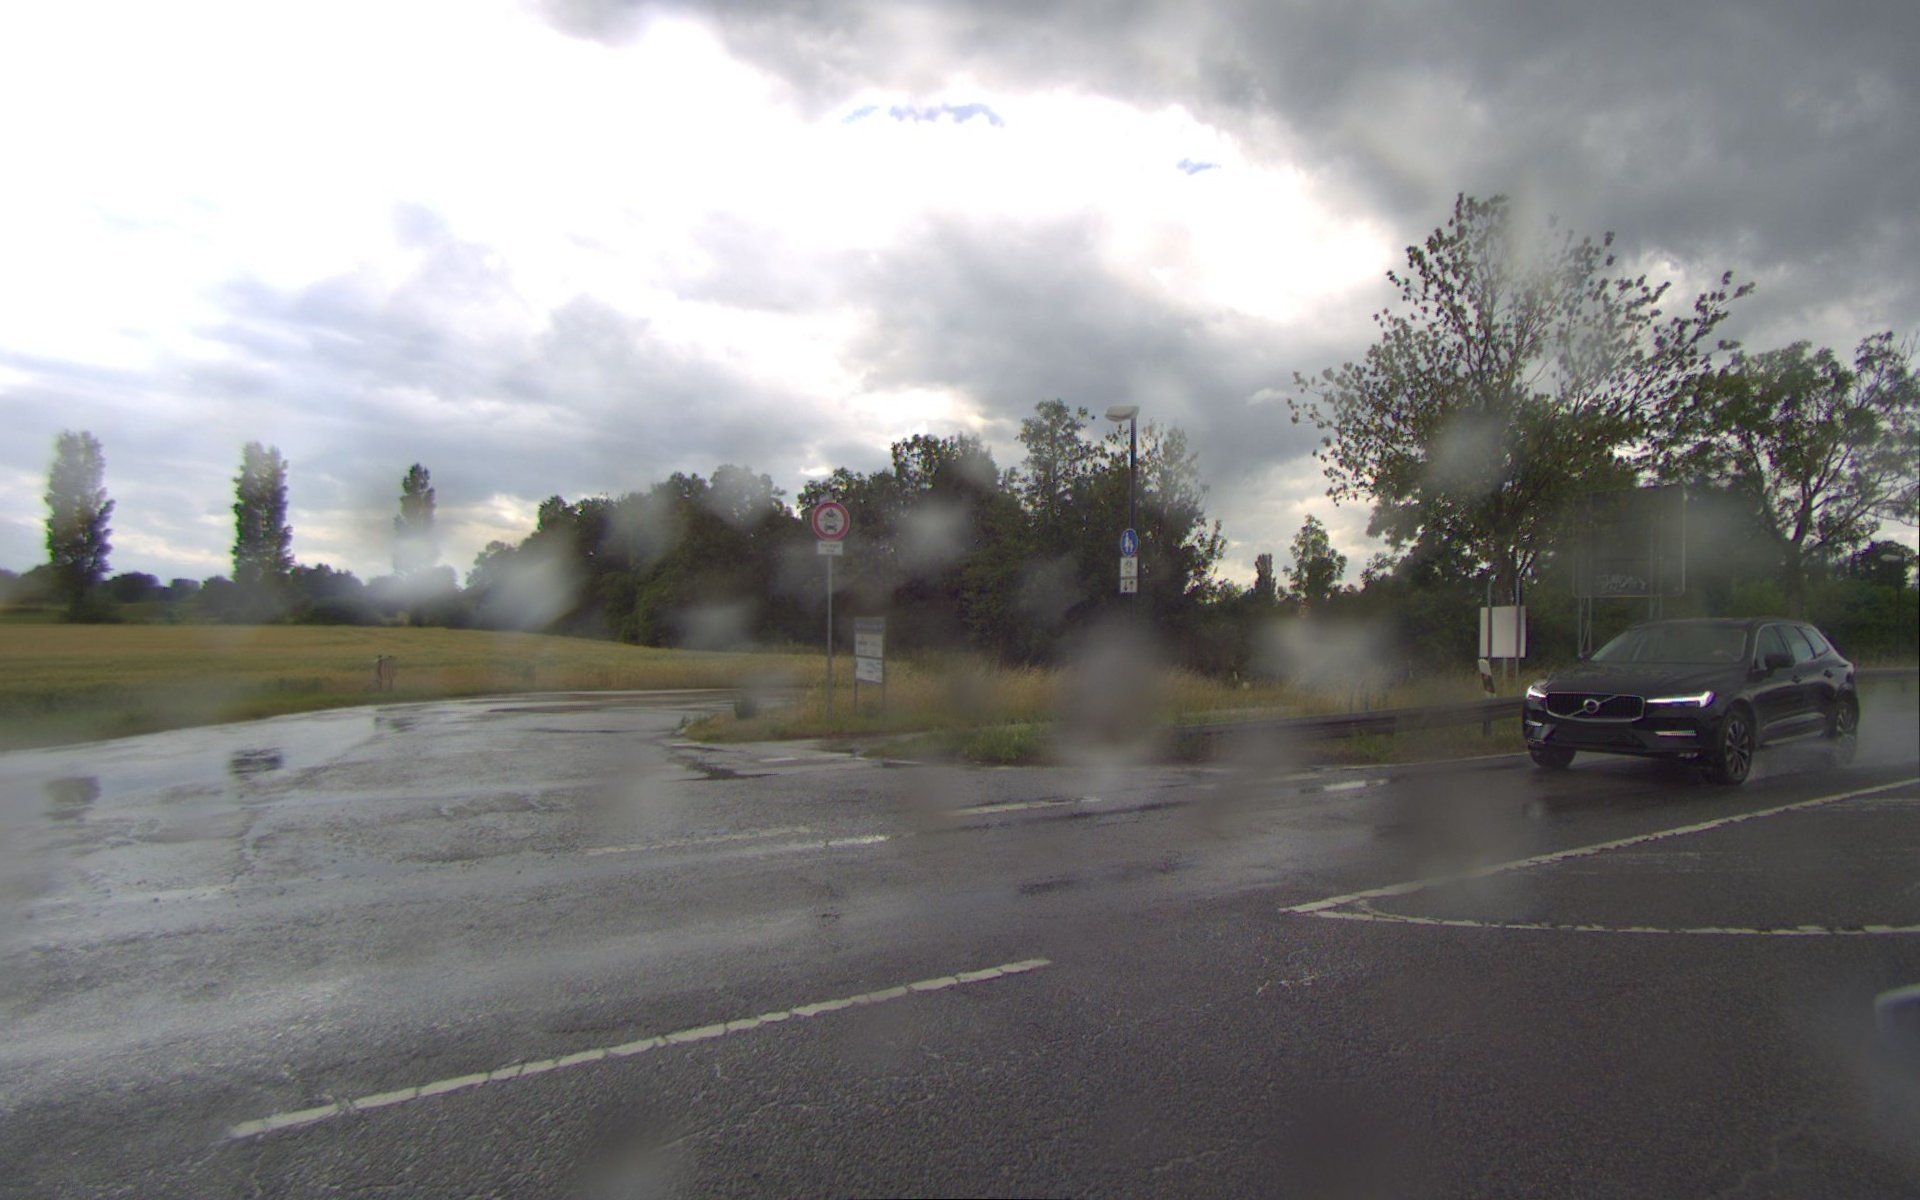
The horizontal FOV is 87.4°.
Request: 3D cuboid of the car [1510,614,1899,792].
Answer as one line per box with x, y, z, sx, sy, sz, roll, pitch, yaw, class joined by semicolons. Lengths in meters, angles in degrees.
8.252;1.000;11.057;4.393;1.601;1.934;1;-2;-32;car
